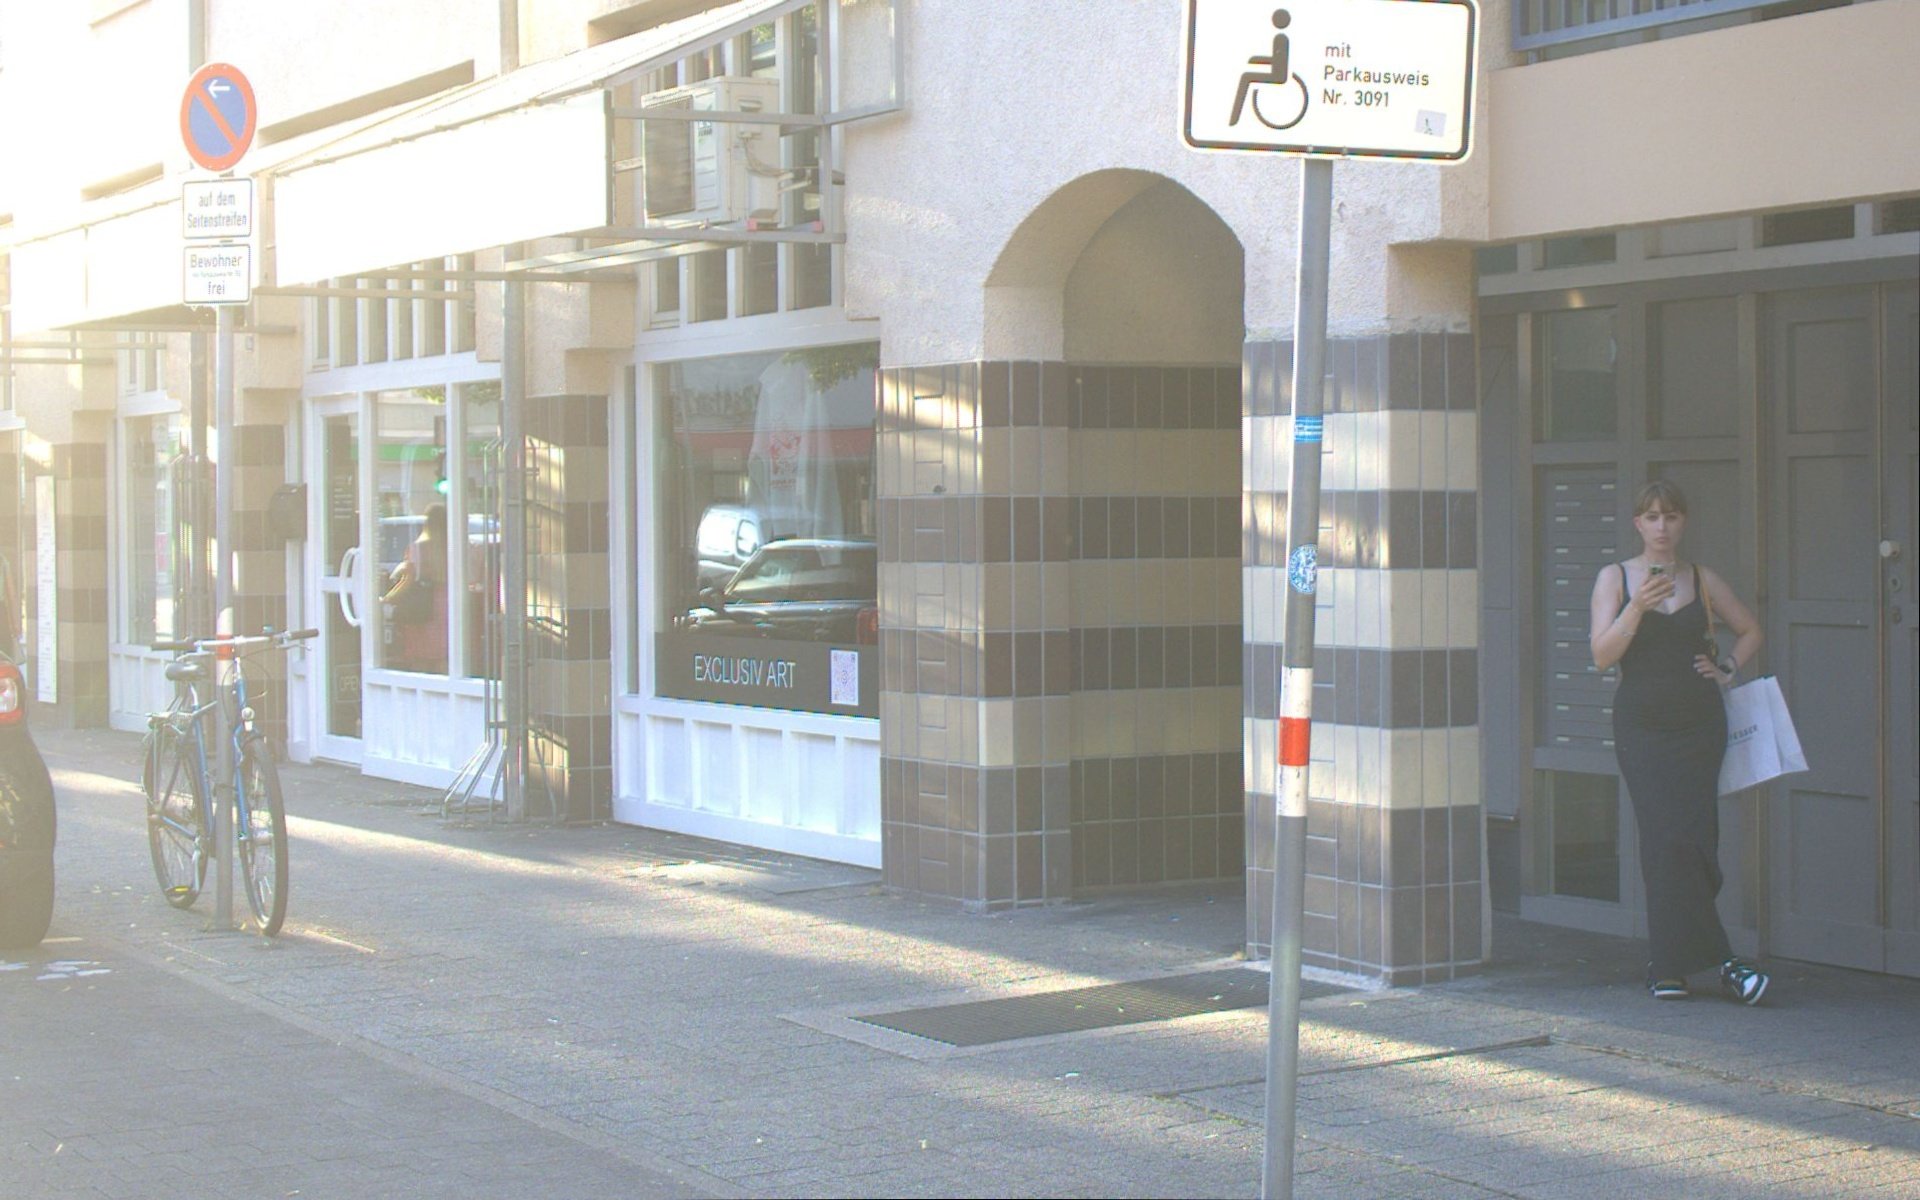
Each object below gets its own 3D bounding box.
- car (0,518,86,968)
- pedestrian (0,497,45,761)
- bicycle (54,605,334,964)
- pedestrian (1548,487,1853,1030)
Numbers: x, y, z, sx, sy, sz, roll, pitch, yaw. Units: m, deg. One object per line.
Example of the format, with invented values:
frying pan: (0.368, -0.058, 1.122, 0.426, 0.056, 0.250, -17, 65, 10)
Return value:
car: (-4.898, 0.469, 13.421, 1.789, 1.575, 3.967, -1, 2, -31)
pedestrian: (-6.369, 0.181, 22.407, 0.559, 1.694, 0.832, -2, 2, -30)
bicycle: (-2.935, 0.647, 13.034, 0.558, 1.202, 1.978, -1, 2, -27)
pedestrian: (2.188, 0.452, 10.216, 0.776, 1.567, 0.534, 0, 1, -2)
